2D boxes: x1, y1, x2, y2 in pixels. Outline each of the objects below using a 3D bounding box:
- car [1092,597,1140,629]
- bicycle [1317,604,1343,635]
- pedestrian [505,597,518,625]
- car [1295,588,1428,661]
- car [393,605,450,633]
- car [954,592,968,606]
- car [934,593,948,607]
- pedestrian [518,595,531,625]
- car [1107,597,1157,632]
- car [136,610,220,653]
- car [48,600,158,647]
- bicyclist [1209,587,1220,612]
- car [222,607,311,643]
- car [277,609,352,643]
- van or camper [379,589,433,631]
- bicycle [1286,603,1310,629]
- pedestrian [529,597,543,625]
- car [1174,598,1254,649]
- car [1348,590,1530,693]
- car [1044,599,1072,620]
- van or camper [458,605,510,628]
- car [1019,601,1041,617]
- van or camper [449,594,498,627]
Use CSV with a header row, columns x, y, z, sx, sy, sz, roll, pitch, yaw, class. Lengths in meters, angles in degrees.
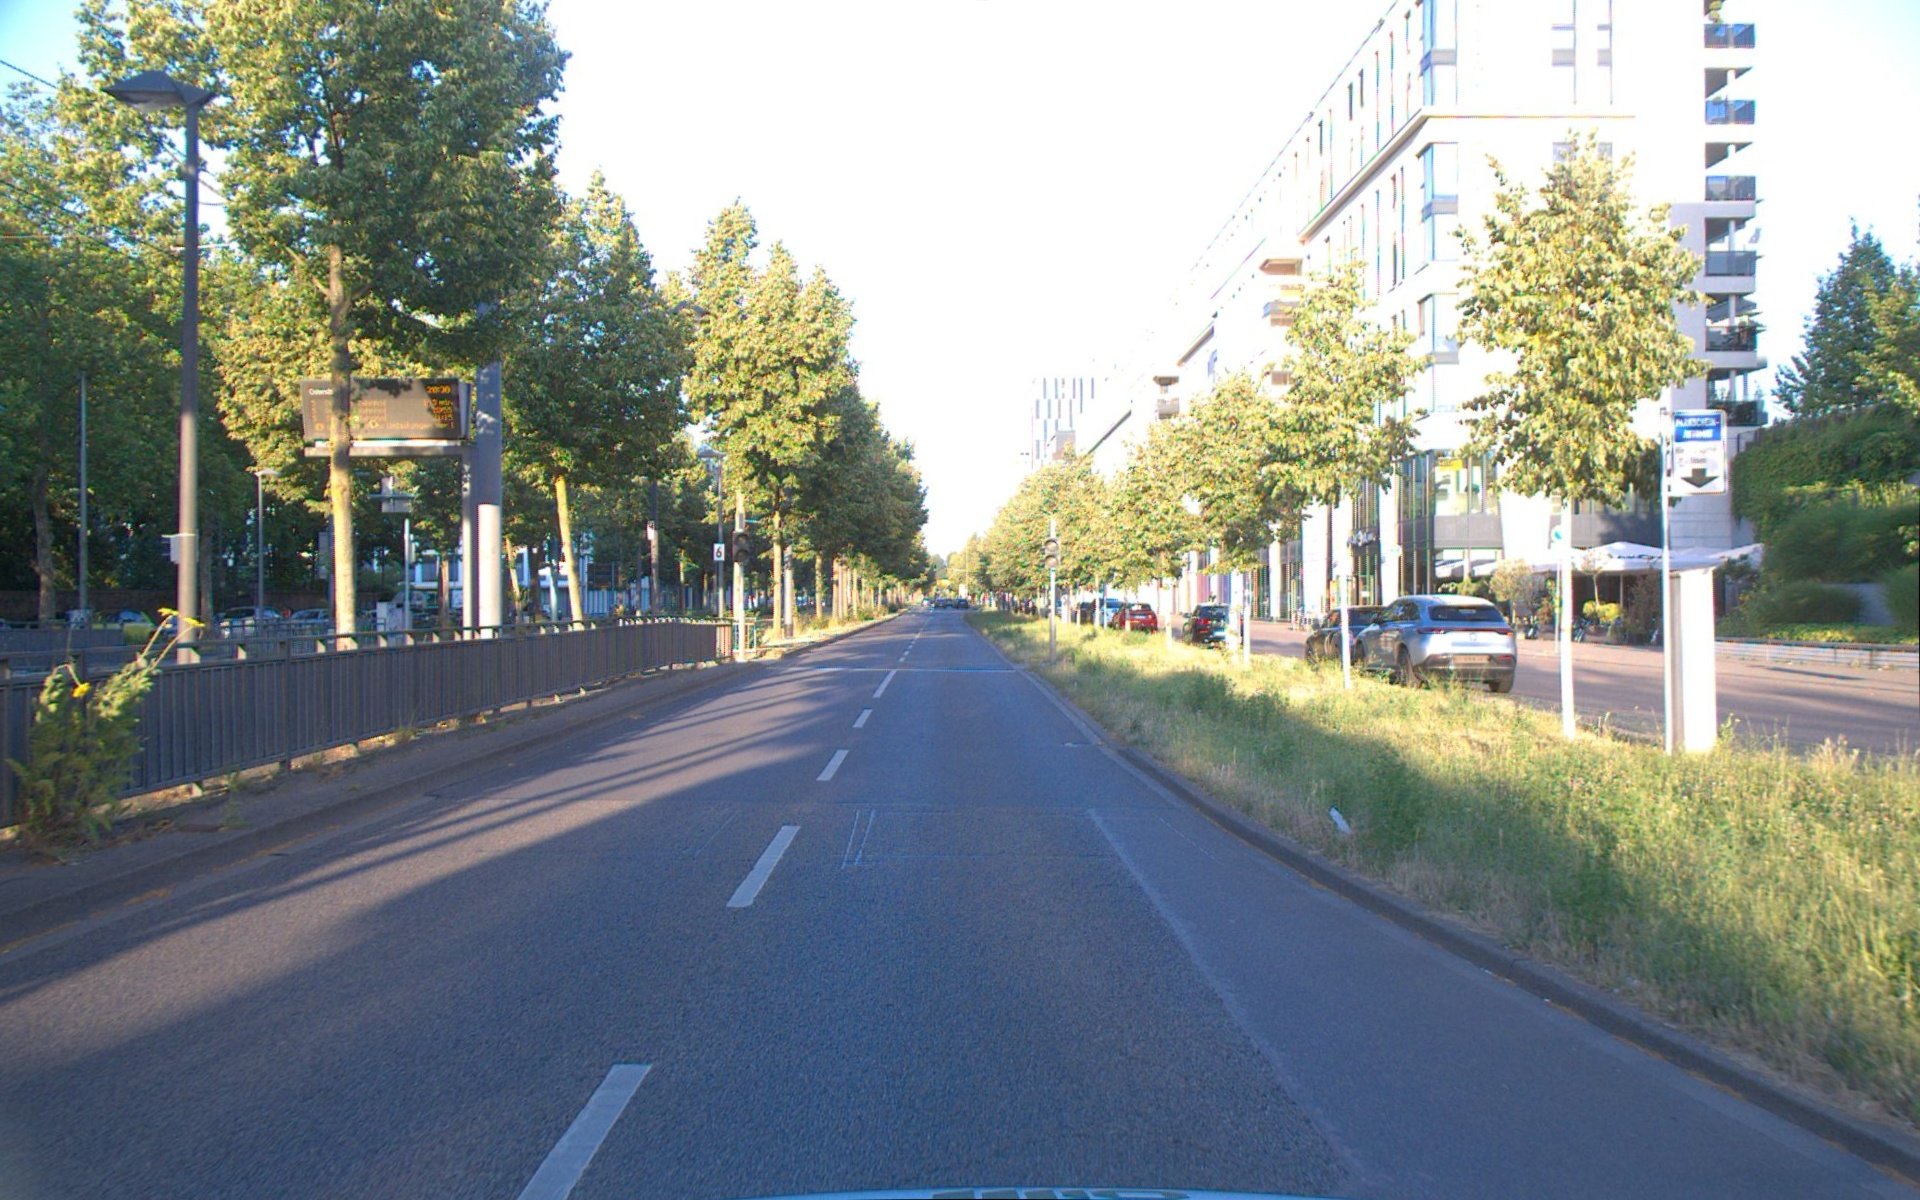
x,y,z,sx,sy,sz,roll,pitch,yaw,class
7.848,0.635,83.630,1.882,1.527,5.008,0,0,-1,car
15.074,0.774,67.371,0.604,1.253,1.670,-1,0,-3,bicycle
-28.390,0.684,104.604,0.680,1.789,0.864,0,0,-8,pedestrian
8.339,0.477,34.647,1.714,1.422,3.999,1,0,-2,car
-31.354,1.071,96.427,1.765,1.588,3.840,-1,0,5,car
0.112,-0.127,240.473,1.953,2.049,3.999,0,0,-1,car
-2.748,-0.029,241.834,2.045,2.049,3.999,0,0,-1,car
-27.708,0.638,105.133,0.680,1.903,0.864,0,-1,-8,pedestrian
7.860,0.654,75.922,1.772,1.527,3.958,0,0,-1,car
-38.824,1.519,82.240,1.951,2.049,4.003,0,0,6,car
-31.453,0.845,60.842,1.953,1.668,4.000,0,0,0,car
16.355,-0.041,106.305,0.533,1.596,1.020,0,0,2,bicyclist
-30.481,1.069,72.835,1.953,1.525,4.557,-1,0,0,car
-30.560,1.206,78.464,1.861,1.525,4.306,-1,0,0,car
-38.338,0.703,114.545,2.043,2.783,5.492,-1,0,-2,van or camper
14.888,0.697,72.900,0.535,1.148,1.867,-2,0,-2,bicycle
-26.847,0.695,104.700,0.679,1.773,0.866,-1,0,-3,pedestrian
7.950,0.710,52.088,1.772,1.527,4.367,0,0,-1,car
8.365,0.673,29.316,1.772,1.660,4.675,0,0,-1,car
7.372,0.727,124.767,1.772,1.527,4.824,0,0,-1,car
-38.747,1.342,134.676,3.915,1.822,1.995,-1,0,-11,van or camper
7.116,0.879,168.655,1.904,1.576,4.809,0,0,-3,car
-47.246,0.960,160.709,2.653,3.139,6.264,0,0,3,van or camper
